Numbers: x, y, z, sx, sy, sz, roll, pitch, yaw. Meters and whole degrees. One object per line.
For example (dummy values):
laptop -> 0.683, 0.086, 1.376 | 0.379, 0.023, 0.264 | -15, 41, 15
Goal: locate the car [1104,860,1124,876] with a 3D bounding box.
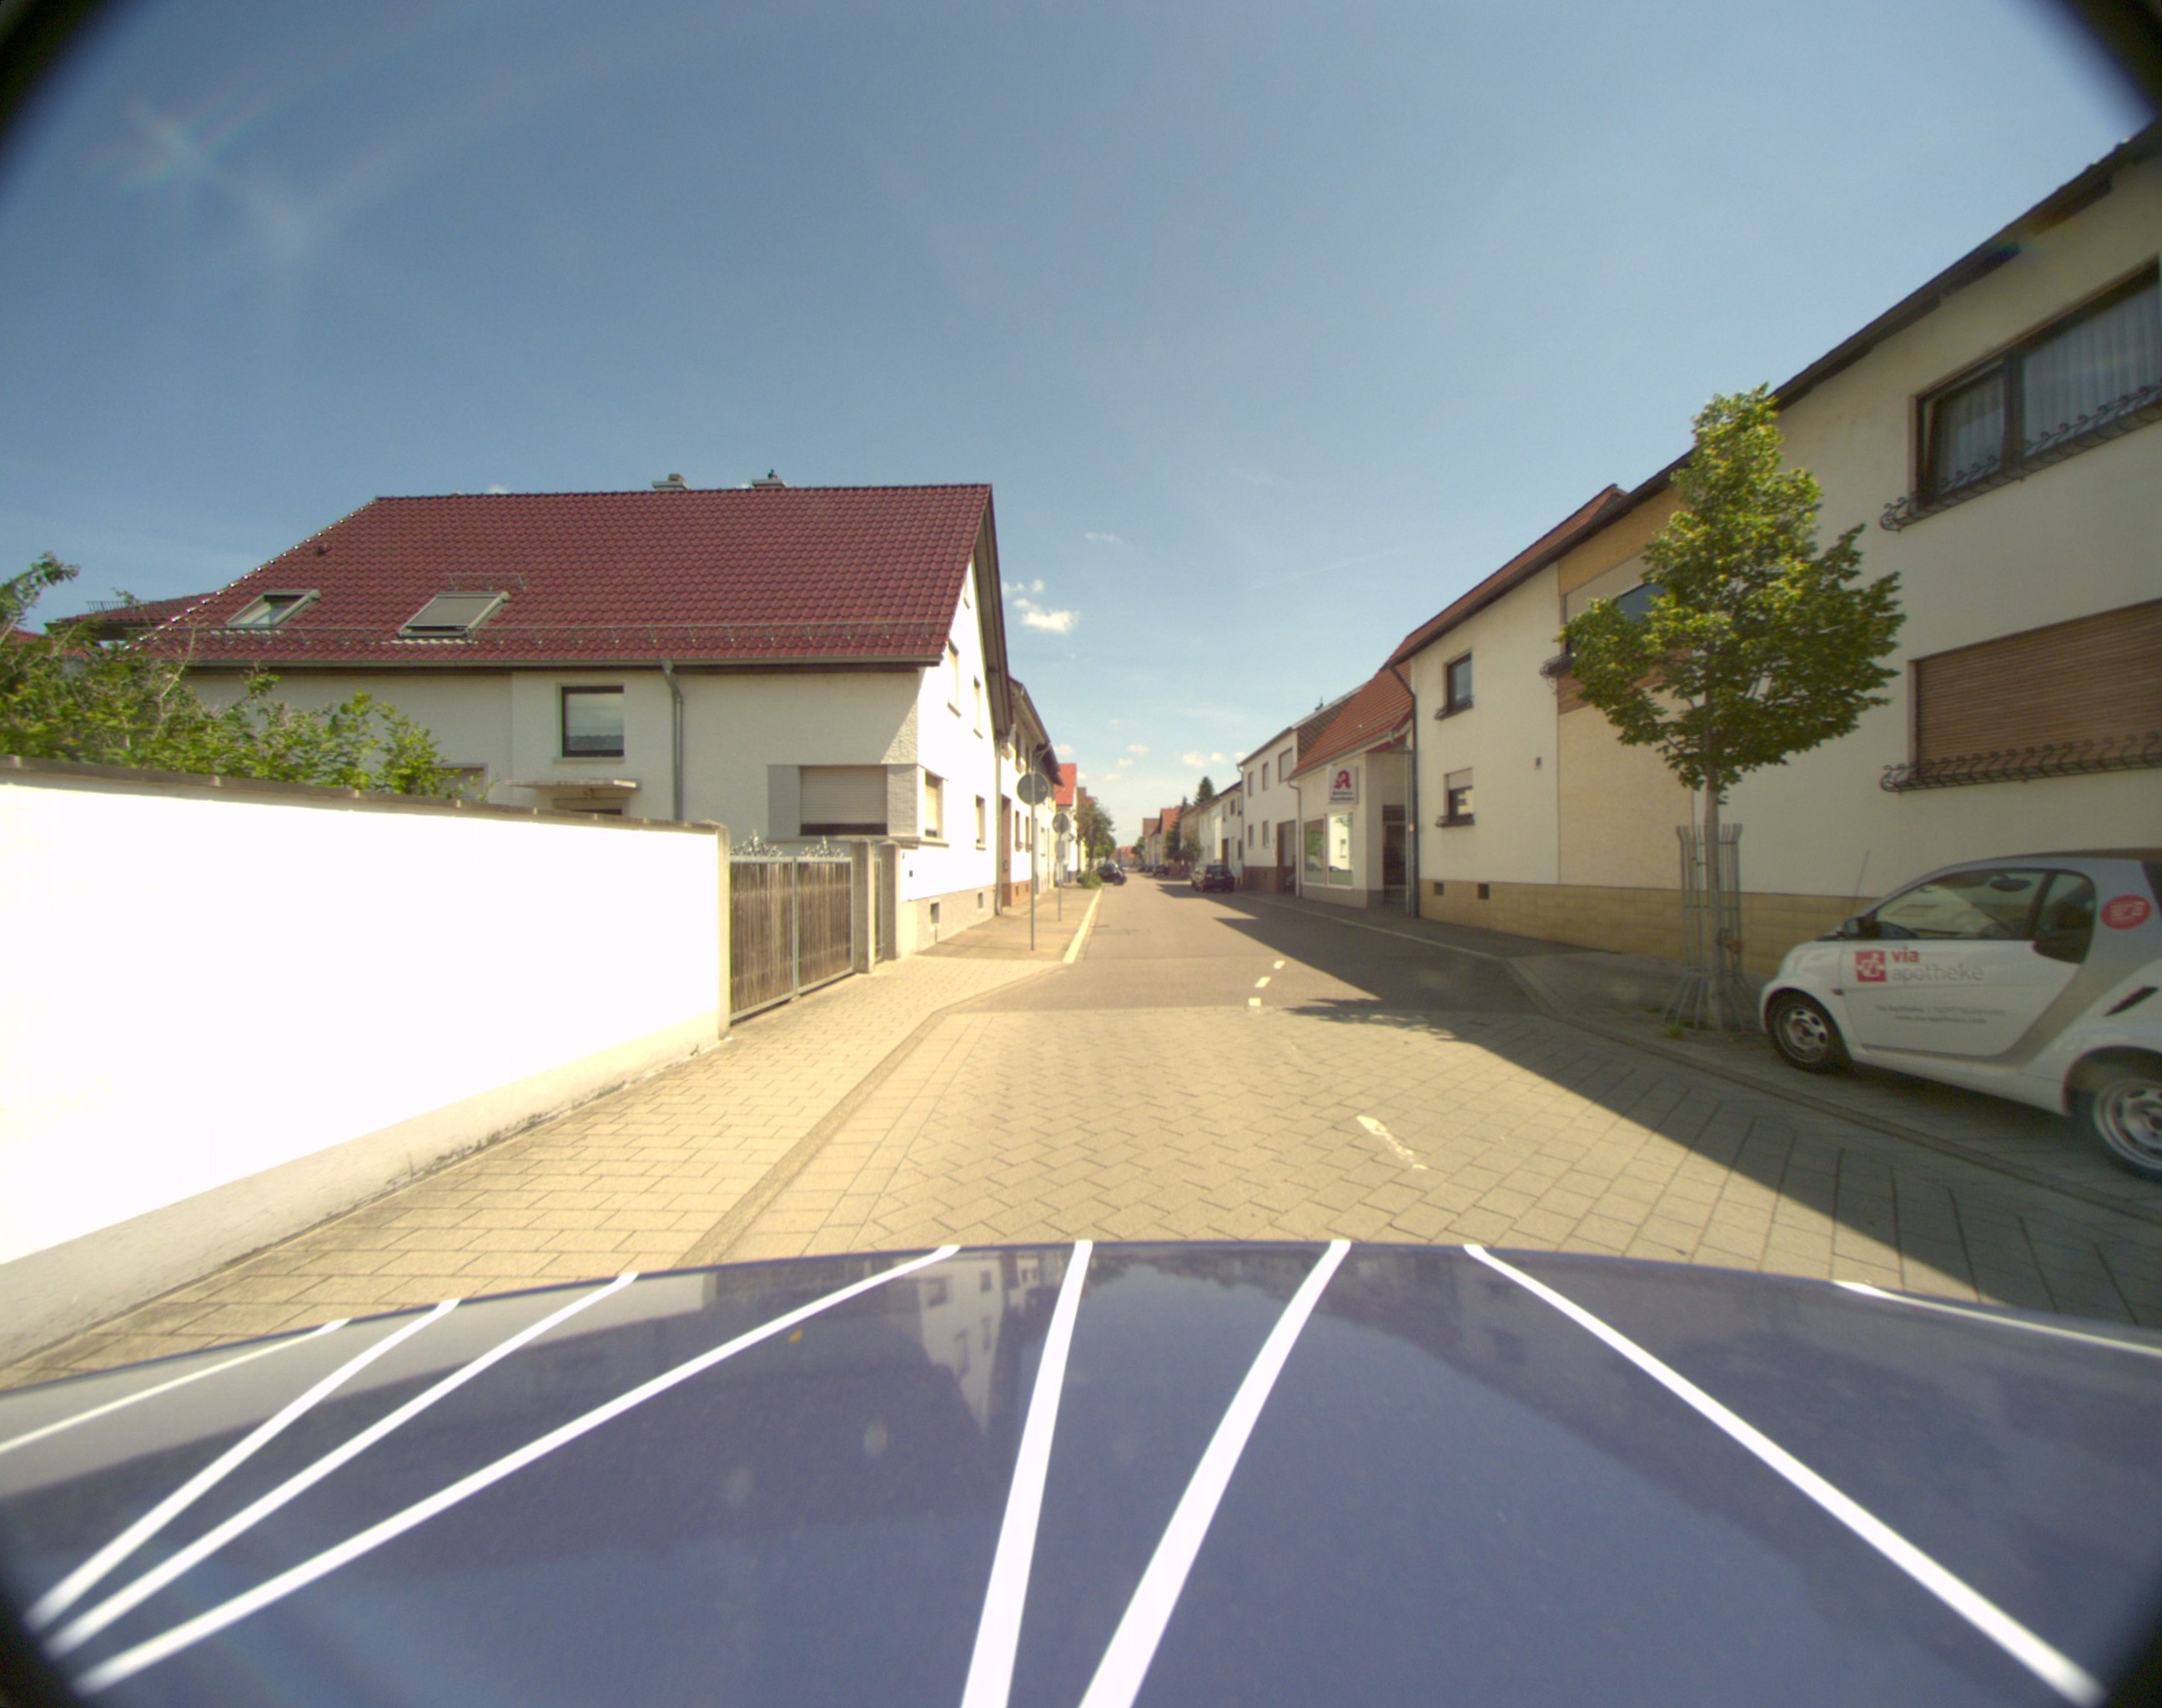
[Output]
car -> 3.623, 1.459, 82.361 | 1.998, 1.696, 4.001 | 0, 0, 4

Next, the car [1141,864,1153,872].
car -> 12.411, 2.611, 143.608 | 1.998, 1.570, 4.001 | 0, 0, 3

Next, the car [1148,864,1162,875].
car -> 11.671, 2.446, 119.851 | 1.854, 1.543, 4.000 | 0, 0, 1

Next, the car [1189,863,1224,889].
car -> 8.151, 1.410, 49.706 | 1.758, 1.608, 4.121 | 0, 0, 2

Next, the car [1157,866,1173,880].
car -> 10.887, 2.467, 98.525 | 1.851, 1.688, 4.001 | 0, 0, 3

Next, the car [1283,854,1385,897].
car -> 11.340, 0.947, 34.307 | 3.996, 1.708, 1.815 | -3, 0, 4

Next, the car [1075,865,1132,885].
car -> 1.685, 1.537, 56.545 | 3.809, 1.420, 1.730 | -1, 0, 25

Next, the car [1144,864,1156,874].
car -> 12.486, 2.707, 137.636 | 1.998, 1.570, 4.000 | 0, 0, 1

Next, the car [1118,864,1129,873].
car -> 7.396, 2.508, 132.580 | 1.957, 1.521, 4.001 | 0, 0, 3

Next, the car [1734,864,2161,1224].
car -> 5.759, 0.887, 4.387 | 1.576, 1.552, 2.822 | -3, 0, 3

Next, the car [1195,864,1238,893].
car -> 7.555, 1.336, 42.655 | 1.752, 1.557, 3.955 | 0, 0, 1
